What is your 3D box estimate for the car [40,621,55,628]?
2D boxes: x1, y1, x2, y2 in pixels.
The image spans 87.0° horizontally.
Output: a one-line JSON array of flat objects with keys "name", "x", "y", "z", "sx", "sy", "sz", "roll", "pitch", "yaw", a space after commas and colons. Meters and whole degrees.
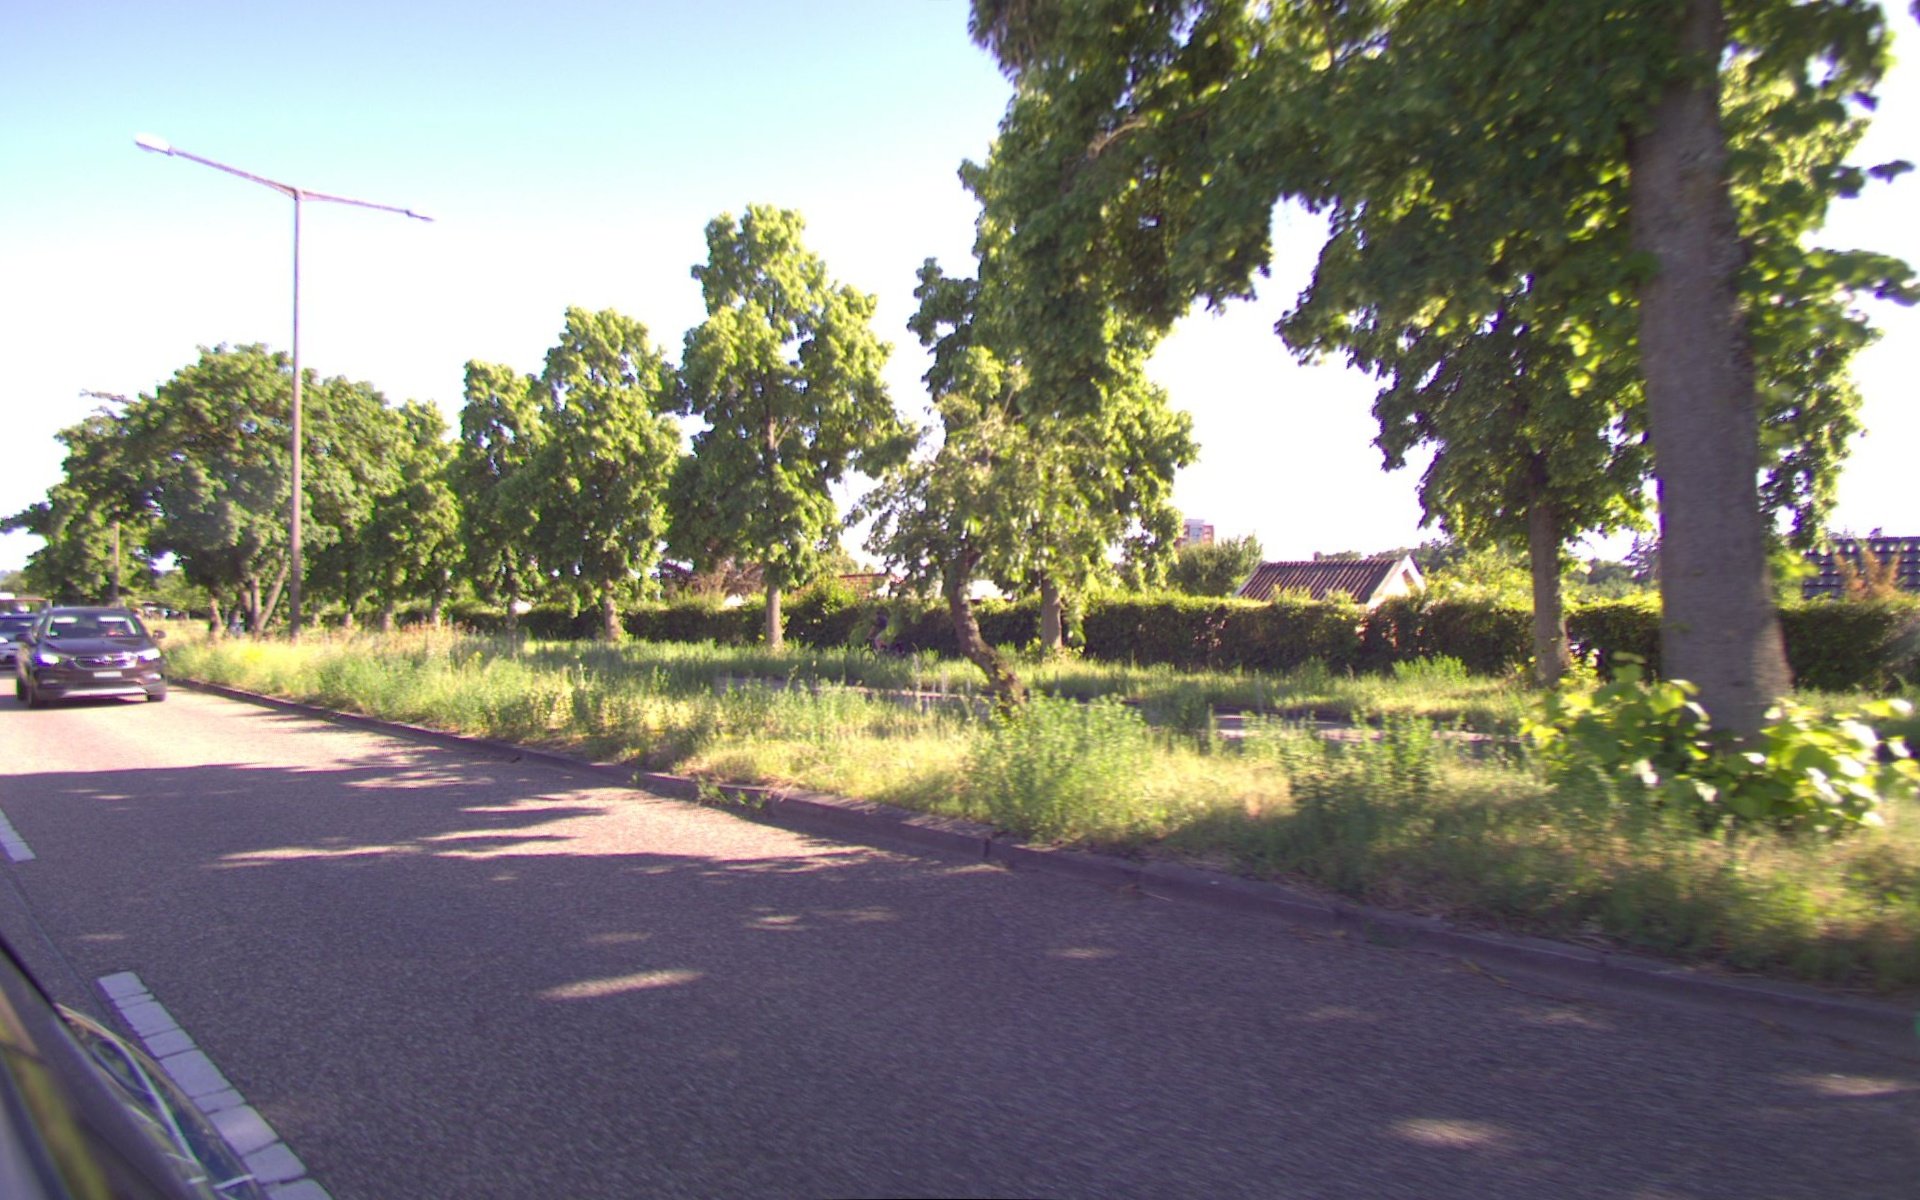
[{"name": "car", "x": -177.124, "y": 4.796, "z": 196.470, "sx": 3.502, "sy": 1.297, "sz": 1.612, "roll": -1, "pitch": -1, "yaw": 37}]

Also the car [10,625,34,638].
[{"name": "car", "x": -130.162, "y": 4.344, "z": 140.408, "sx": 3.998, "sy": 1.697, "sz": 1.973, "roll": -1, "pitch": -1, "yaw": 41}]

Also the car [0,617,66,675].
[{"name": "car", "x": -27.574, "y": 1.295, "z": 29.722, "sx": 1.798, "sy": 1.574, "sz": 4.650, "roll": 0, "pitch": -1, "yaw": -44}]

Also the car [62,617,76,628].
[{"name": "car", "x": -153.029, "y": 3.806, "z": 173.825, "sx": 3.573, "sy": 1.818, "sz": 1.609, "roll": -1, "pitch": -1, "yaw": 44}]

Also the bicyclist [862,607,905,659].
[{"name": "bicyclist", "x": -2.137, "y": 0.918, "z": 28.250, "sx": 1.000, "sy": 1.431, "sz": 0.682, "roll": -1, "pitch": -1, "yaw": 43}]

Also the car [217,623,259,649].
[{"name": "car", "x": -51.299, "y": 2.533, "z": 71.909, "sx": 1.915, "sy": 1.669, "sz": 4.004, "roll": -2, "pitch": 1, "yaw": -43}]

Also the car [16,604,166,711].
[{"name": "car", "x": -15.323, "y": 0.901, "z": 17.763, "sx": 1.785, "sy": 1.627, "sz": 4.519, "roll": 1, "pitch": -1, "yaw": -43}]

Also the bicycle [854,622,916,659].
[{"name": "bicycle", "x": -2.098, "y": 1.111, "z": 28.220, "sx": 1.841, "sy": 1.004, "sz": 0.682, "roll": -1, "pitch": -1, "yaw": 43}]
